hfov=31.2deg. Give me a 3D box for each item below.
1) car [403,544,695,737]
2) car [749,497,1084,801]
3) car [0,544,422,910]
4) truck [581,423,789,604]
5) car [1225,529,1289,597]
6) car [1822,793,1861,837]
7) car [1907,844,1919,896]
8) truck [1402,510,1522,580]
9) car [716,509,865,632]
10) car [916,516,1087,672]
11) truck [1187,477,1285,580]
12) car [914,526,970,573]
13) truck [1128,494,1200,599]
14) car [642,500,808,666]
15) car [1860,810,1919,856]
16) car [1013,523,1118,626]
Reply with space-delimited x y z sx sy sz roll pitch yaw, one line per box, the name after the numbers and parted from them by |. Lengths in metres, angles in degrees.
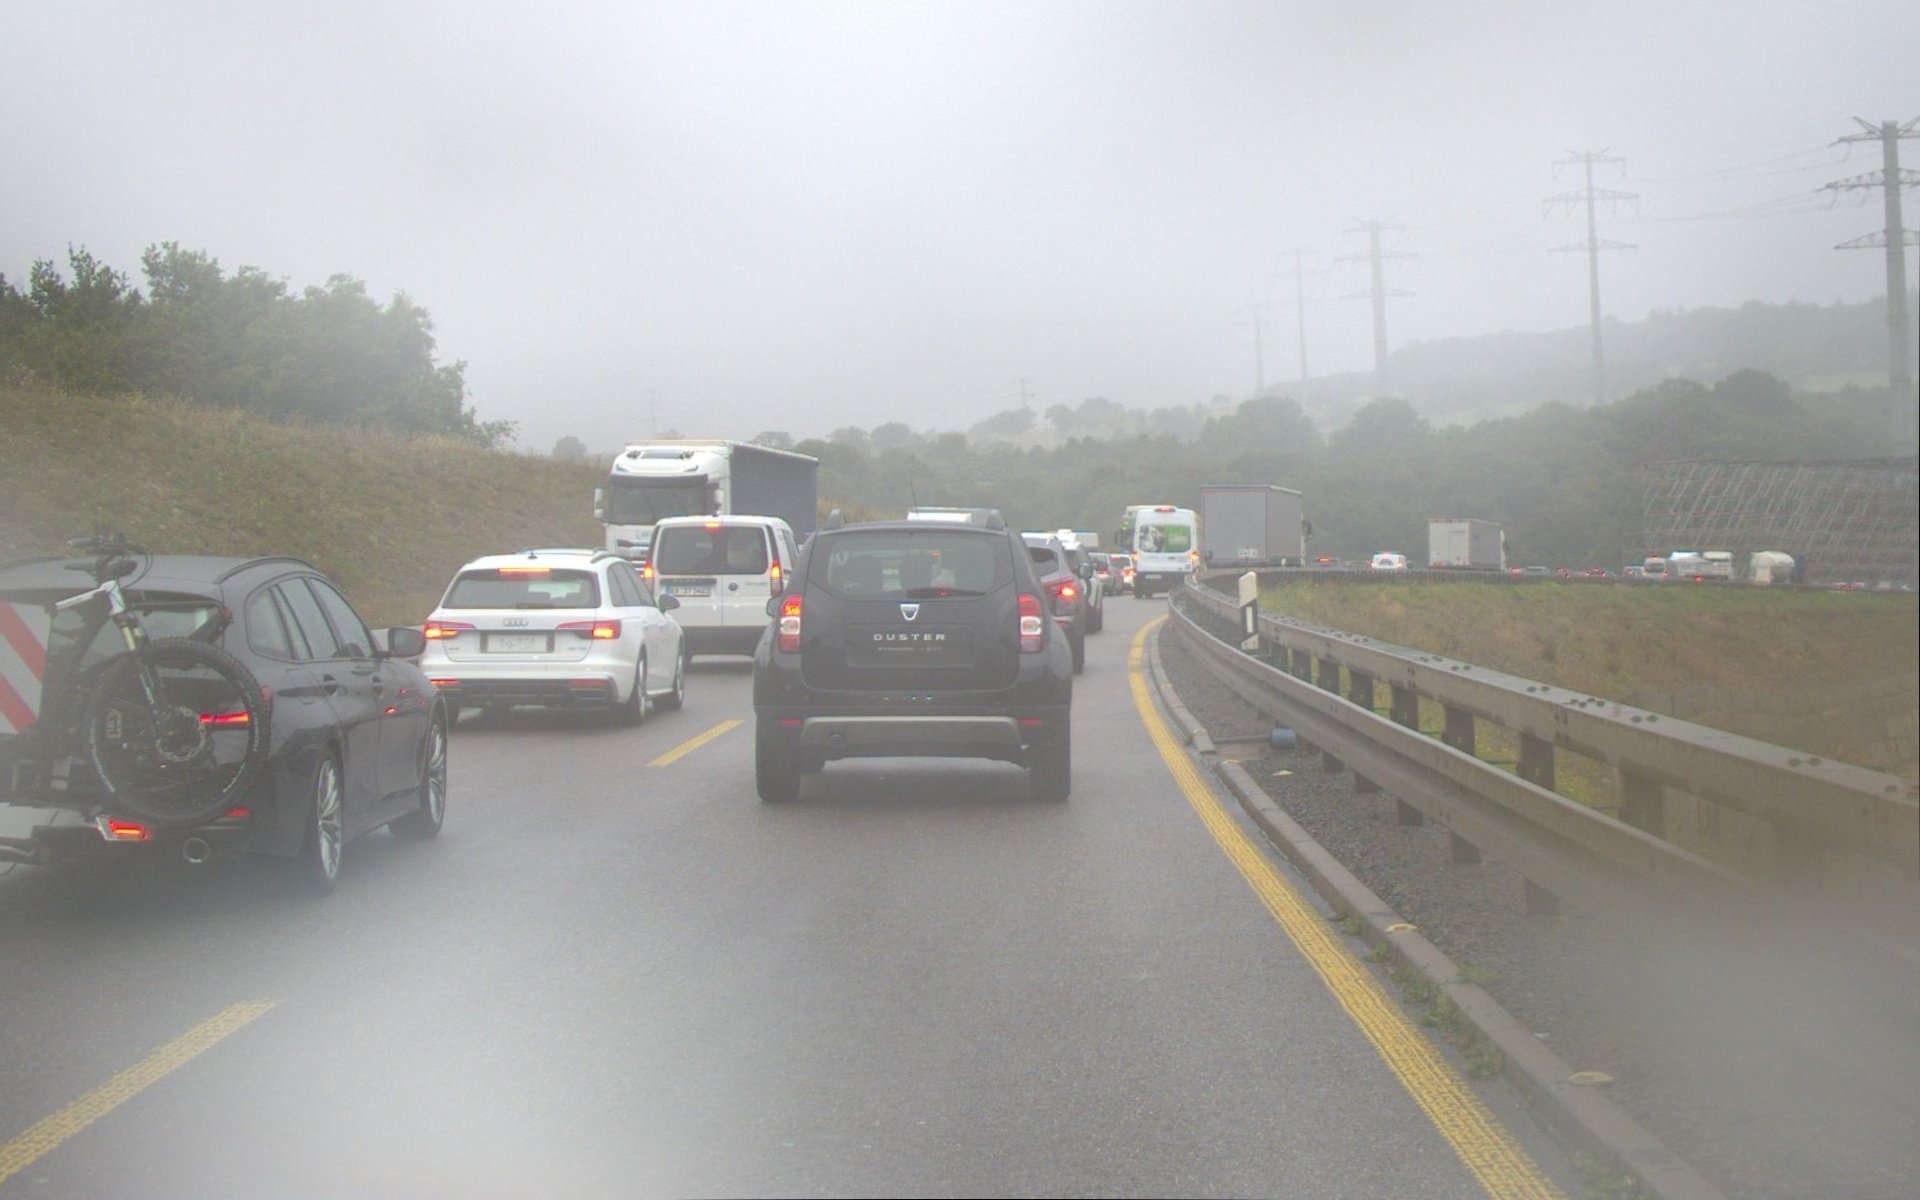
-3.380 0.281 29.075 1.867 1.455 4.549 1 1 1 | car
-0.180 0.234 20.425 1.804 1.640 3.776 0 1 2 | car
-3.772 0.482 15.775 1.829 1.471 3.776 0 1 3 | car
-6.652 -2.122 85.792 2.933 4.083 14.389 1 1 4 | truck
8.569 -1.083 99.180 1.775 1.909 3.999 1 1 5 | car
47.723 11.617 186.161 1.995 2.007 3.997 1 1 15 | car
41.657 11.500 145.045 2.365 2.007 4.000 1 1 2 | car
31.703 -3.453 216.394 4.722 4.135 15.668 1 1 19 | truck
-2.454 -0.457 50.652 1.867 1.702 4.092 1 1 2 | car
0.479 -0.107 40.110 1.867 1.702 4.000 1 1 1 | car
10.627 -2.714 131.597 3.201 3.748 8.507 1 1 8 | truck
-0.651 -1.832 125.478 1.868 1.576 4.091 1 -1 2 | car
6.444 -1.690 108.084 2.149 3.155 6.459 1 1 4 | truck
-2.781 -0.236 41.362 1.660 1.873 4.020 1 1 1 | car
43.927 10.996 162.466 1.994 1.809 4.000 0 1 4 | car
1.800 -0.454 57.821 1.531 1.635 4.012 1 1 5 | car
